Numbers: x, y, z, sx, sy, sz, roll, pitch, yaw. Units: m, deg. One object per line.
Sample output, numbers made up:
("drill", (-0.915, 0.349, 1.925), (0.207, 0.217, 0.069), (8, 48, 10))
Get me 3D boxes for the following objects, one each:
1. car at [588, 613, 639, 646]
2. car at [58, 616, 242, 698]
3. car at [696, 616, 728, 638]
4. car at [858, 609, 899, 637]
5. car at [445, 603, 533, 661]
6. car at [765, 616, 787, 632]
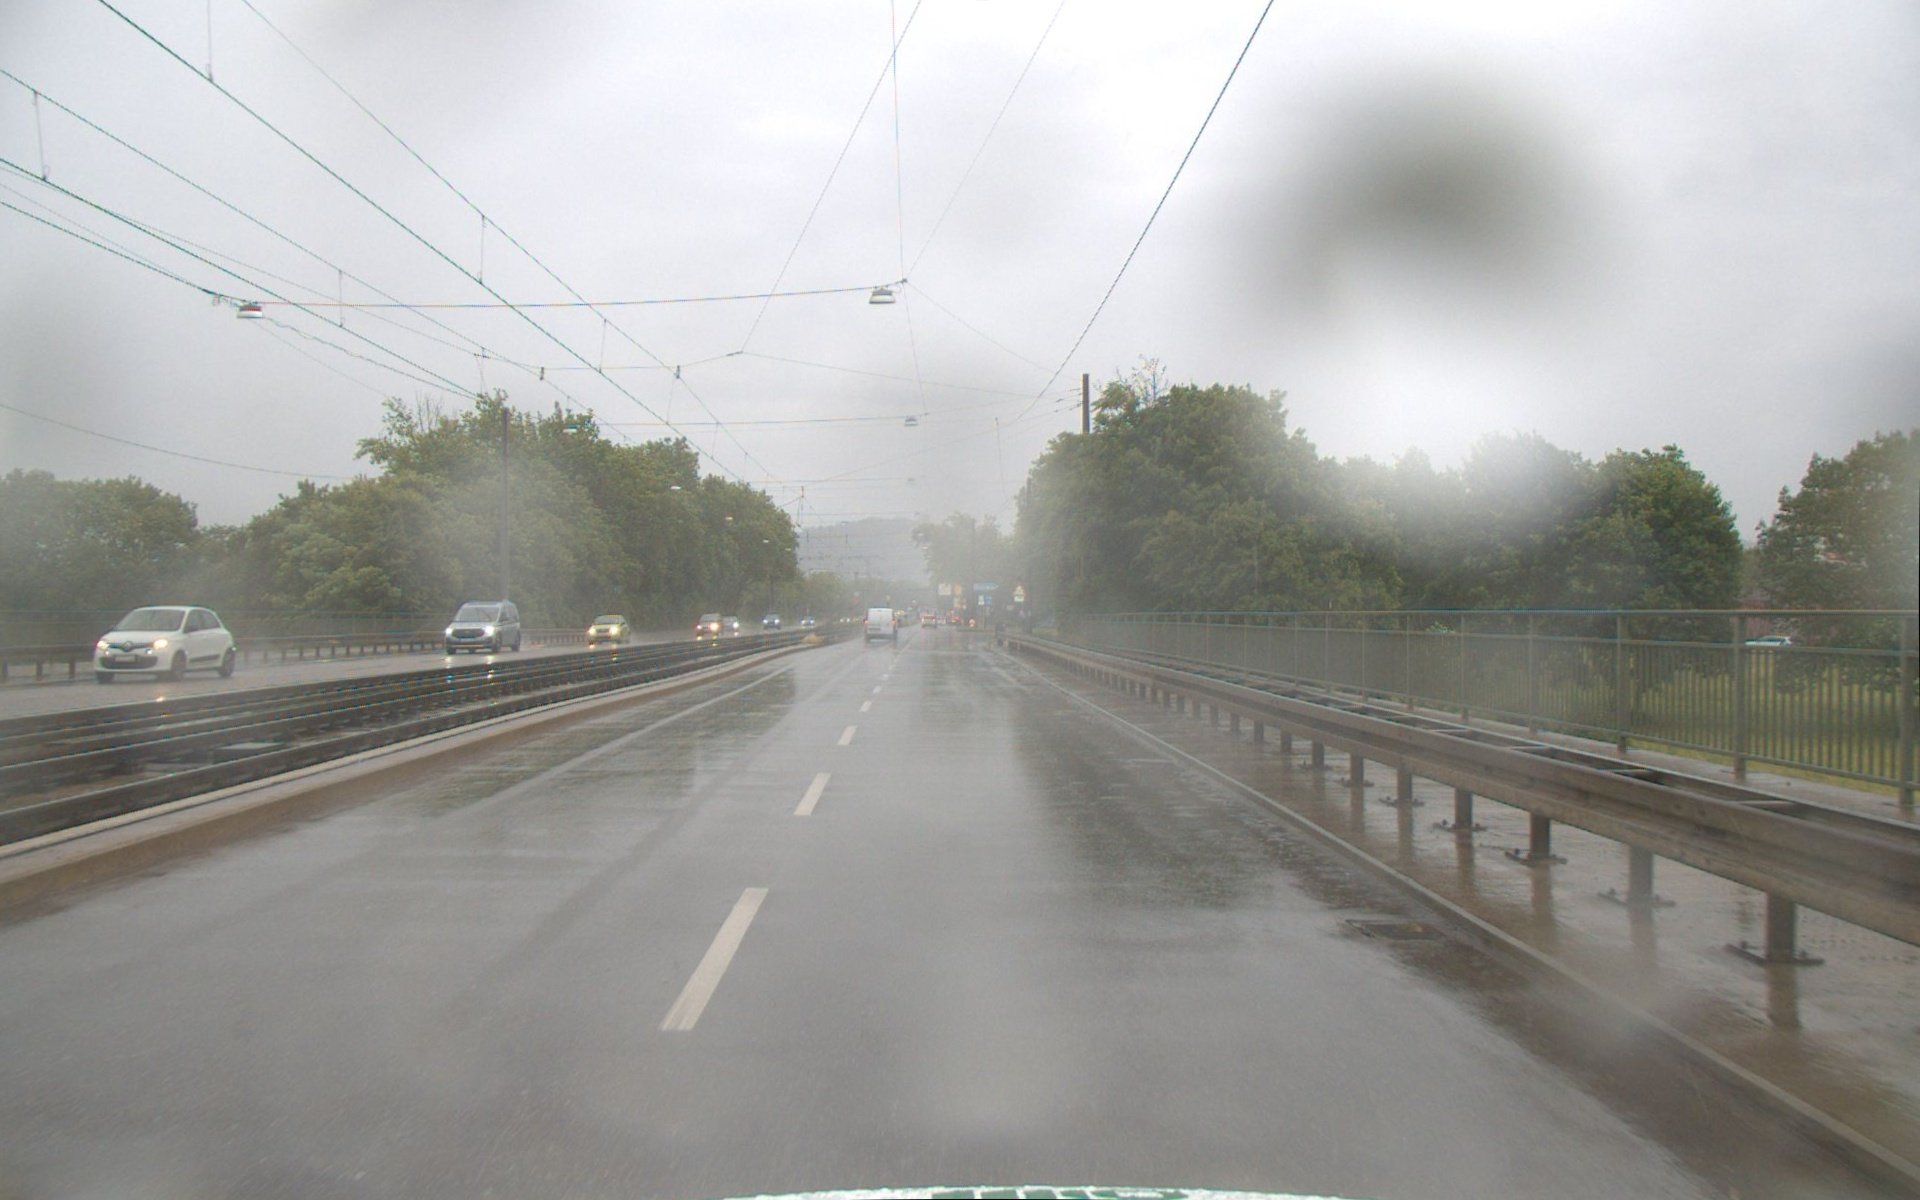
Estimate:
("car", (-17.569, 1.511, 84.007), (1.808, 1.622, 3.999), (1, -1, -1))
("car", (-17.051, 1.172, 35.053), (1.953, 1.646, 3.999), (0, -1, -1))
("car", (-18.233, 1.998, 121.726), (1.803, 1.601, 4.384), (1, -1, -1))
("car", (-4.366, 1.231, 89.214), (2.035, 1.445, 3.999), (-1, -1, -1))
("car", (-16.621, 1.129, 58.610), (1.811, 1.863, 4.392), (4, -1, -1))
("car", (-20.367, 2.618, 183.199), (1.953, 1.702, 4.870), (0, 0, -2))
